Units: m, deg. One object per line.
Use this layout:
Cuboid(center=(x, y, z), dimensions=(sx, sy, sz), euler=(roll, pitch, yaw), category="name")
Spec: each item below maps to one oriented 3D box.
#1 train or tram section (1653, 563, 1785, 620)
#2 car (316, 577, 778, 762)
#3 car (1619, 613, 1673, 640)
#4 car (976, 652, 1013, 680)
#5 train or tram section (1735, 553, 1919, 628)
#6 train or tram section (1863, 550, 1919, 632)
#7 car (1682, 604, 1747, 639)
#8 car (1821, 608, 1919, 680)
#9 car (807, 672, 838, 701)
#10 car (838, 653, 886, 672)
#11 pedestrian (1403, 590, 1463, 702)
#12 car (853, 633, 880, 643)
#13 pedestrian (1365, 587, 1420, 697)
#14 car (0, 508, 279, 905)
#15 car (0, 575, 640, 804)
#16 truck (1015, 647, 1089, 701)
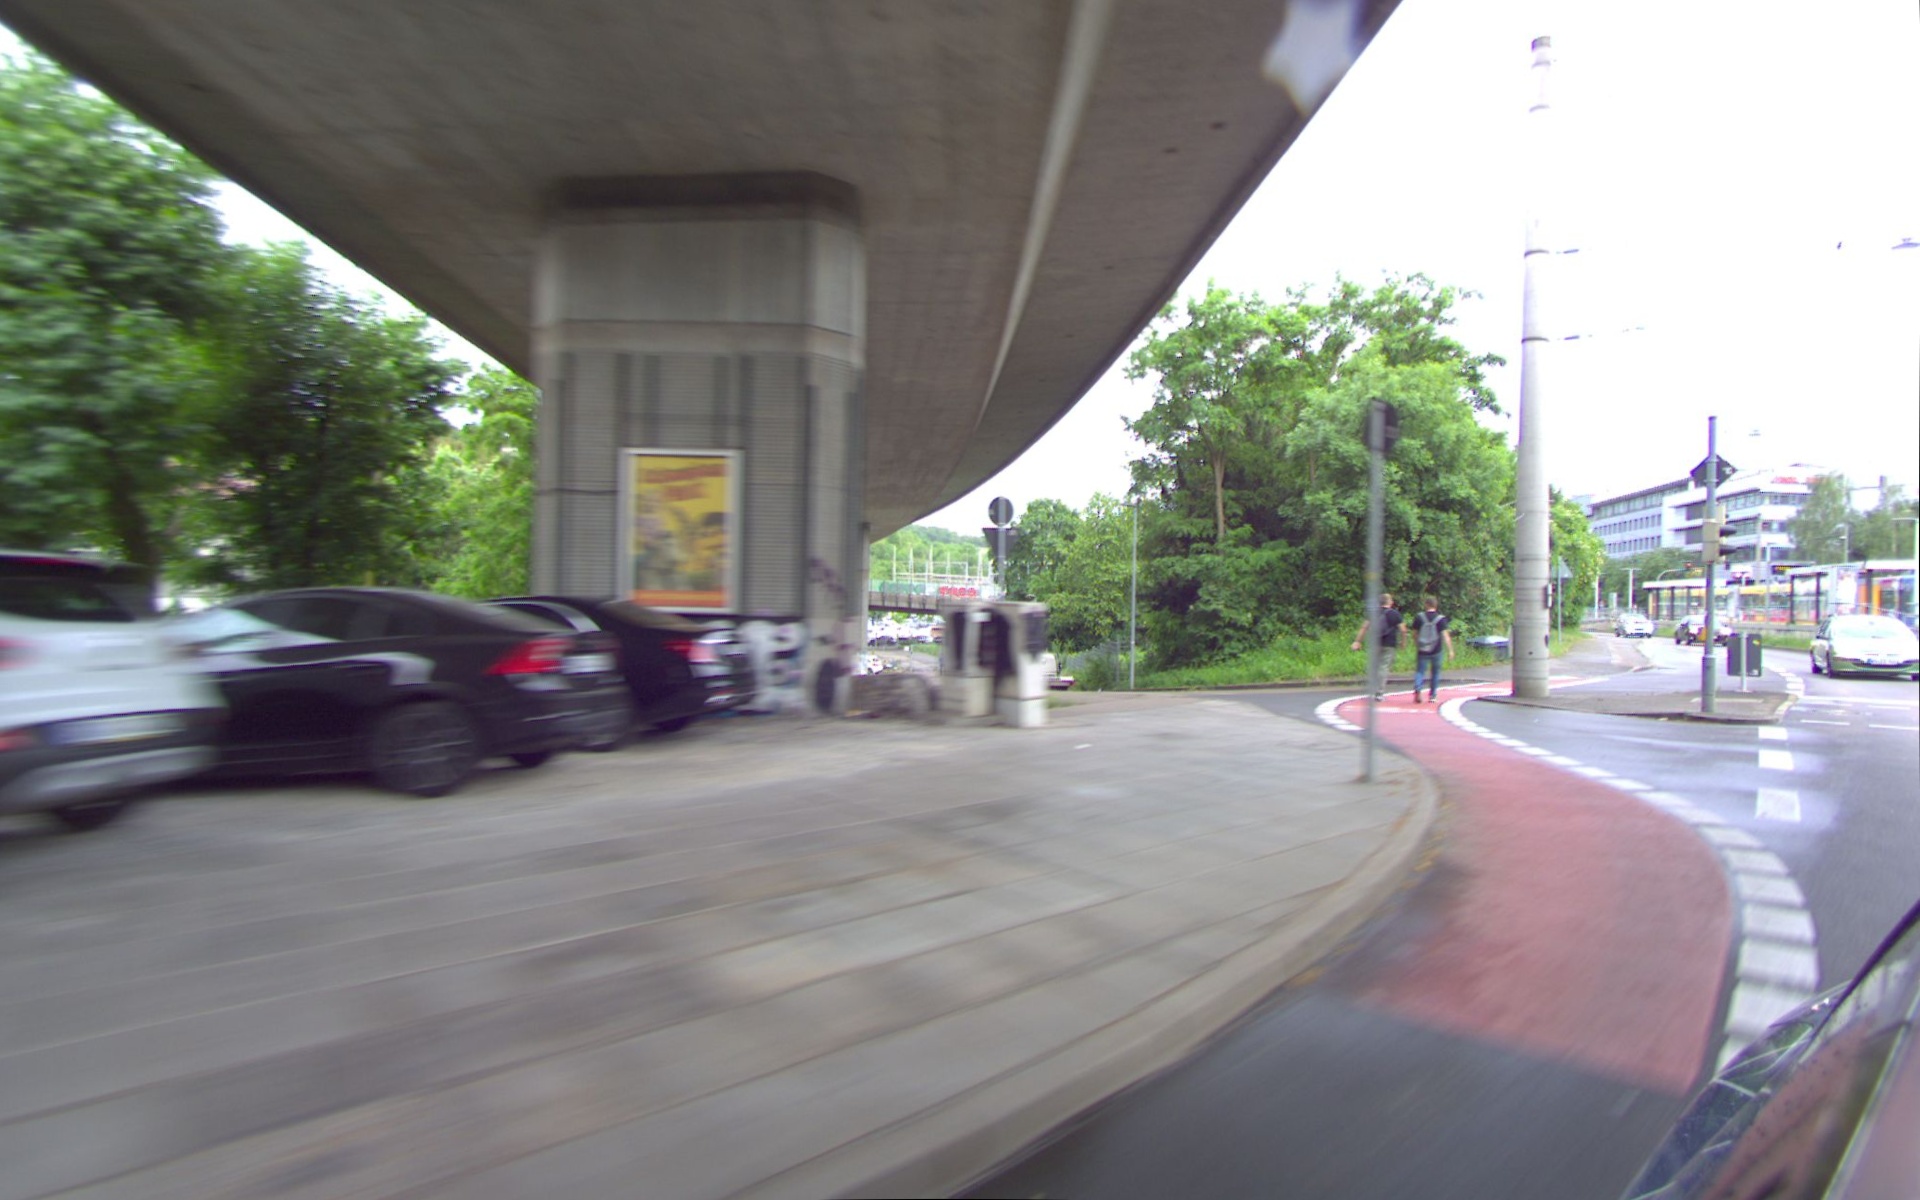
Cuboid(center=(61.283, -0.661, 82.548), dimensions=(2.840, 4.023, 19.206), euler=(-2, 0, 19), category="train or tram section")
Cuboid(center=(-4.006, 0.654, 10.317), dimensions=(3.925, 1.592, 1.904), euler=(-2, -1, 1), category="car")
Cuboid(center=(44.298, 1.684, 65.449), dimensions=(1.976, 1.592, 3.971), euler=(-2, -1, 22), category="car")
Cuboid(center=(2.528, 4.879, 75.418), dimensions=(1.916, 1.880, 3.899), euler=(0, 0, -11), category="car")
Cuboid(center=(54.643, -0.566, 64.589), dimensions=(2.843, 4.004, 19.190), euler=(-2, 0, 21), category="train or tram section")
Cuboid(center=(47.513, -0.455, 46.779), dimensions=(2.846, 4.021, 19.168), euler=(-2, -1, 24), category="train or tram section")
Cuboid(center=(37.342, 1.029, 50.186), dimensions=(1.764, 1.520, 3.965), euler=(2, 2, 25), category="car")
Cuboid(center=(22.117, 0.998, 24.258), dimensions=(1.769, 1.520, 3.951), euler=(2, 1, 34), category="car")
Cuboid(center=(-9.239, 5.802, 68.174), dimensions=(1.959, 1.629, 4.294), euler=(0, -1, -7), category="car")
Cuboid(center=(-8.127, 5.151, 83.732), dimensions=(3.919, 1.483, 1.774), euler=(0, -1, -6), category="car")
Cuboid(center=(7.968, 0.757, 17.053), dimensions=(0.625, 1.831, 0.823), euler=(-3, -1, 44), category="pedestrian")
Cuboid(center=(-13.939, 5.696, 151.256), dimensions=(3.704, 1.512, 1.770), euler=(0, -1, 13), category="car")
Cuboid(center=(7.500, 0.712, 17.541), dimensions=(0.596, 1.845, 0.896), euler=(-3, -1, 40), category="pedestrian")
Cuboid(center=(-6.000, 0.455, 5.005), dimensions=(3.946, 1.651, 1.968), euler=(0, 0, -1), category="car")
Cuboid(center=(-4.607, 0.581, 7.443), dimensions=(3.972, 1.458, 1.787), euler=(0, -1, -1), category="car")
Cuboid(center=(4.107, 3.291, 46.236), dimensions=(2.656, 2.039, 5.764), euler=(0, 0, -2), category="truck")
